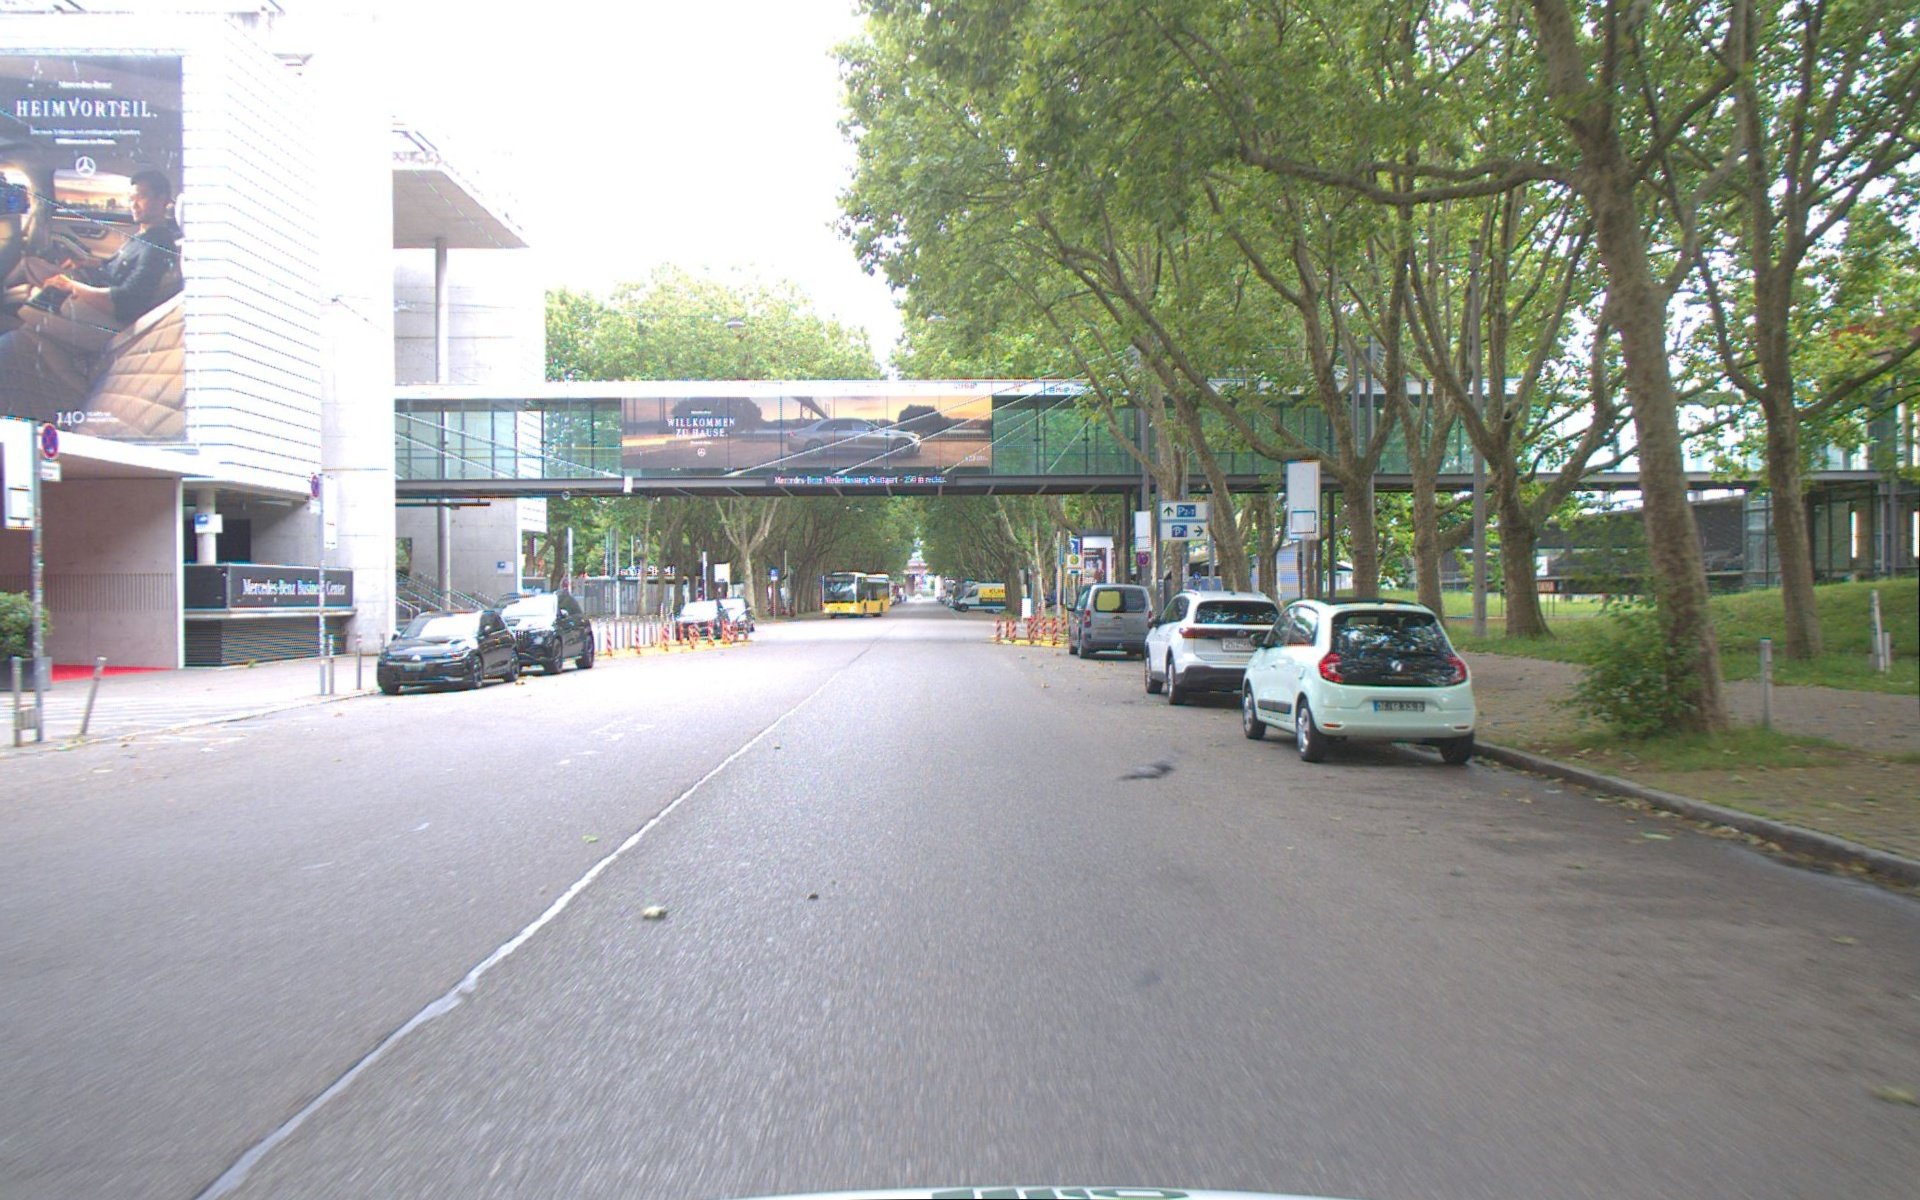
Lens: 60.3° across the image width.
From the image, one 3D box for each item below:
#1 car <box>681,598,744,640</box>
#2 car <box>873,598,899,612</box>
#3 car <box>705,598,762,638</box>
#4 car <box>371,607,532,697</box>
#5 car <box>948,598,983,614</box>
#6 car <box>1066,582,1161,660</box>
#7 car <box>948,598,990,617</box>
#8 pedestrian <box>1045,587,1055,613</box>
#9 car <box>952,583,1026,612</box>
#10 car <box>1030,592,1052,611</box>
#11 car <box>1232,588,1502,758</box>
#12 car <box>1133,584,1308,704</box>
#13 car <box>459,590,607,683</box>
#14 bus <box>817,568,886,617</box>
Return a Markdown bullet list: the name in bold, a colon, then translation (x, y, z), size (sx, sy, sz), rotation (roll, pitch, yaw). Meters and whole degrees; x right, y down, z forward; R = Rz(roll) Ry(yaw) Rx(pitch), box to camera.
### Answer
- **car**: translation (-9.843, 0.723, 65.960), size (1.820, 1.478, 4.448), rotation (-3, 0, -1)
- **car**: translation (-11.386, 0.769, 255.447), size (3.906, 2.004, 2.000), rotation (0, 0, -1)
- **car**: translation (-10.215, 0.787, 74.829), size (1.953, 1.612, 4.112), rotation (-3, 0, -1)
- **car**: translation (-9.529, 0.926, 31.335), size (1.670, 1.444, 4.324), rotation (-3, 0, -1)
- **car**: translation (0.640, 0.678, 190.366), size (3.906, 1.825, 1.542), rotation (0, 0, -2)
- **car**: translation (3.776, 0.490, 41.579), size (1.810, 1.814, 5.210), rotation (1, 0, -1)
- **car**: translation (0.863, 0.724, 159.139), size (3.906, 1.825, 1.542), rotation (0, 0, -2)
- **pedestrian**: translation (6.583, 0.001, 120.729), size (0.562, 1.921, 0.615), rotation (0, 0, -10)
- **car**: translation (2.636, -0.240, 151.729), size (6.687, 2.557, 2.315), rotation (-1, 0, -3)
- **car**: translation (7.907, 0.163, 161.493), size (1.953, 1.803, 3.999), rotation (0, 0, -1)
- **car**: translation (4.109, 0.679, 17.360), size (1.771, 1.553, 4.095), rotation (0, 0, -1)
- **car**: translation (3.871, 0.616, 25.366), size (1.875, 1.646, 4.748), rotation (0, 0, -1)
- **car**: translation (-9.473, 0.743, 37.090), size (1.993, 1.820, 4.907), rotation (-4, 0, -1)
- **bus**: translation (-7.658, -0.498, 118.908), size (2.974, 3.215, 12.684), rotation (-2, 0, 5)
